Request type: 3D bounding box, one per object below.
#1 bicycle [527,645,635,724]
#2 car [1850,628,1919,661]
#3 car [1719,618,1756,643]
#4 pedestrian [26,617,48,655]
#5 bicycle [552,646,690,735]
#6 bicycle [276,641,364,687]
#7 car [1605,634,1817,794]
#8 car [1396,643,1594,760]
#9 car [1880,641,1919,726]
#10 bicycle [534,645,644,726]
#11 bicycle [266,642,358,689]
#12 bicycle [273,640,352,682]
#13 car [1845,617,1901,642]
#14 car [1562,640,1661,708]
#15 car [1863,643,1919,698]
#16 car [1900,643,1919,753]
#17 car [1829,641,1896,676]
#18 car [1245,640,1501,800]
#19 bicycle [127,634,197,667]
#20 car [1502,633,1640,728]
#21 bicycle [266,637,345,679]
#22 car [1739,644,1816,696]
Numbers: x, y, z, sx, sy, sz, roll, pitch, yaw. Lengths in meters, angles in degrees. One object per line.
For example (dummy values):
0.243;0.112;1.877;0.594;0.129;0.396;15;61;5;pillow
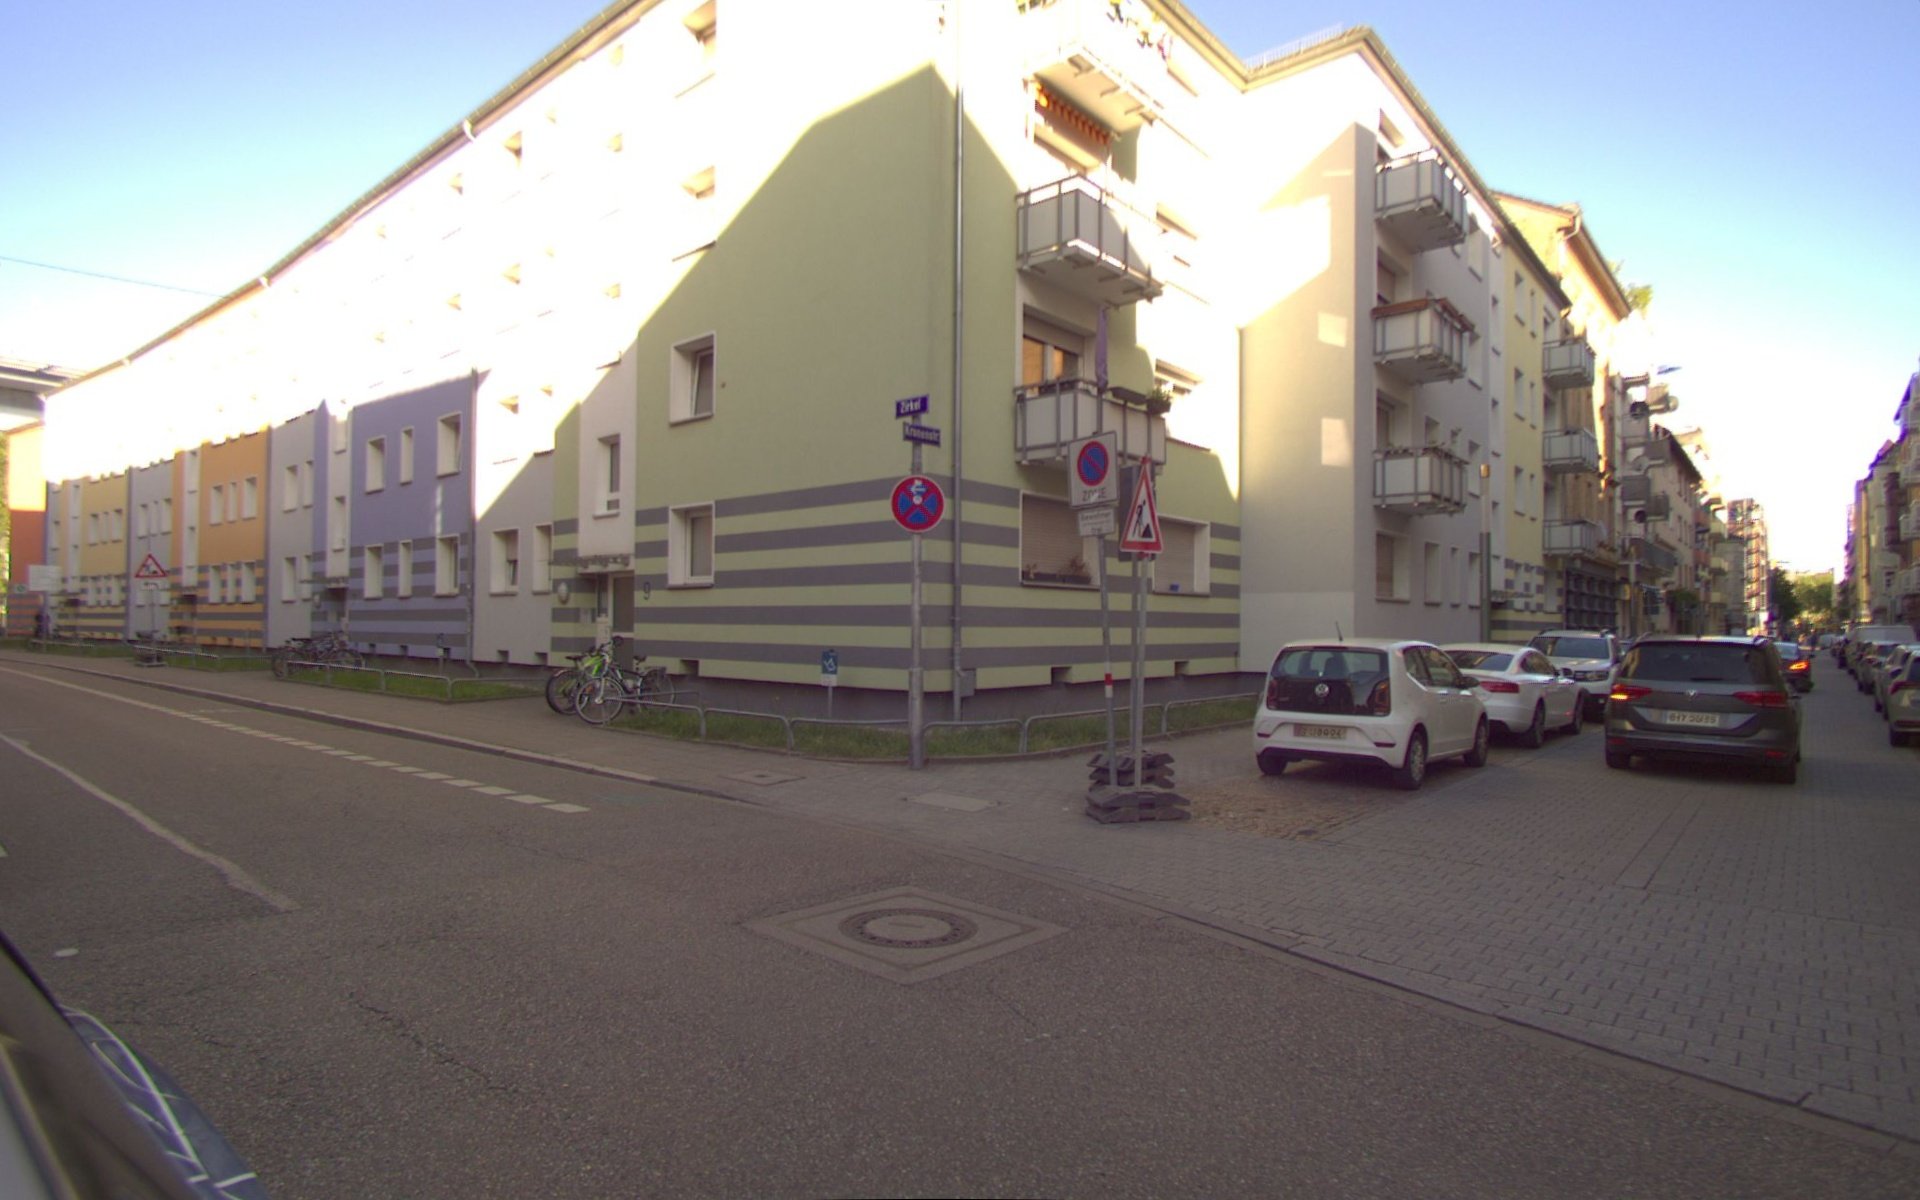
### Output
-6.195;1.355;16.633;0.387;1.109;1.719;-1;1;34;bicycle
35.777;1.723;39.094;1.784;1.196;3.045;-3;-3;36;car
49.681;1.959;64.645;1.585;1.519;3.847;-1;-2;42;car
-41.087;1.606;45.036;0.447;1.663;0.605;-1;-2;35;pedestrian
-5.044;1.318;15.152;0.749;1.109;1.797;-1;1;41;bicycle
-15.803;1.565;25.021;0.388;0.953;1.780;-1;1;41;bicycle
9.206;1.215;12.292;1.785;1.580;4.114;-1;-2;40;car
8.022;1.374;14.983;1.758;1.408;4.271;-1;-2;40;car
18.897;1.547;19.402;1.787;1.493;3.858;-3;-4;43;car
-5.944;1.342;16.304;0.387;1.109;1.719;-1;1;34;bicycle
-15.524;1.550;24.287;0.388;0.953;1.780;-1;1;41;bicycle
-16.618;1.552;25.998;0.388;0.953;1.636;-1;1;41;bicycle
46.647;1.518;51.755;1.784;1.196;3.045;-3;-3;36;car
14.886;1.635;23.059;1.485;1.400;3.360;-3;-3;39;car
26.159;1.911;27.895;1.787;1.419;3.436;-3;-4;43;car
15.206;1.396;15.004;1.787;1.493;3.858;-3;-4;43;car
32.407;2.077;36.391;1.468;1.196;3.045;-3;-3;36;car
4.657;1.179;11.195;1.724;1.448;3.300;-1;-2;40;car
-27.944;1.764;35.444;0.653;0.990;1.786;-1;2;38;bicycle
11.776;1.457;19.379;1.757;1.623;4.094;-3;-3;38;car
-16.952;1.486;26.234;0.388;0.953;1.636;-1;1;41;bicycle
24.349;2.022;30.116;1.585;1.392;3.847;-1;-2;42;car
